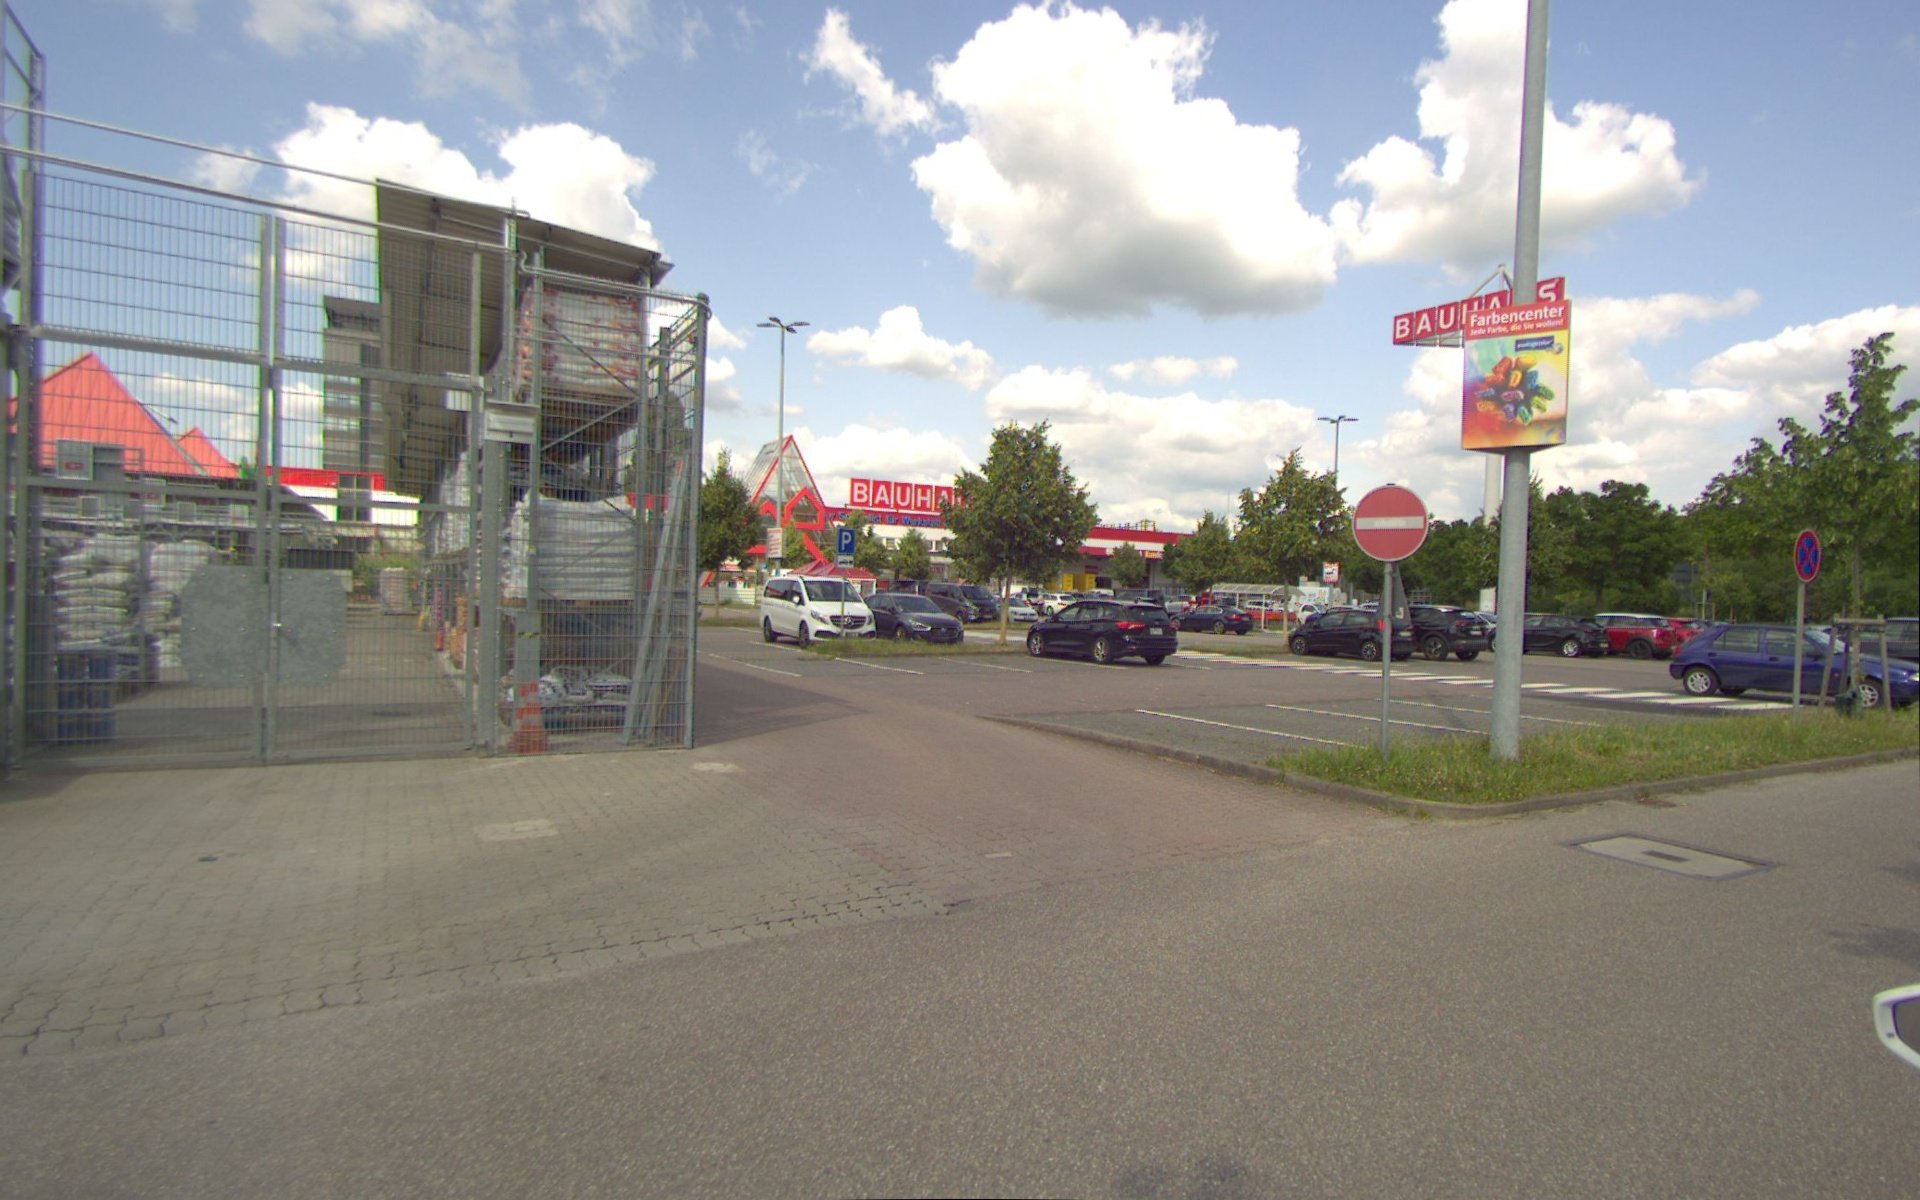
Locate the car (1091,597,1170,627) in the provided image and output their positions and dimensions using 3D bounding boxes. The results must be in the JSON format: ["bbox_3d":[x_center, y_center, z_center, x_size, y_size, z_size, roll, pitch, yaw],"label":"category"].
[{"bbox_3d":[9.405,0.656,55.746,1.977,1.487,4.379,1,0,-31],"label":"car"}]

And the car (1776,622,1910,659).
[{"bbox_3d":[41.565,1.903,47.342,4.561,1.524,1.785,2,1,4],"label":"car"}]

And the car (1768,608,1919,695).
[{"bbox_3d":[19.443,1.068,20.724,1.714,1.646,3.934,1,1,-28],"label":"car"}]

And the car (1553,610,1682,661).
[{"bbox_3d":[23.223,1.230,35.565,1.691,1.602,3.417,1,1,-32],"label":"car"}]

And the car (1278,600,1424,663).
[{"bbox_3d":[11.610,0.898,30.013,1.766,1.646,3.670,1,1,-35],"label":"car"}]

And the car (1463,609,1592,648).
[{"bbox_3d":[23.264,1.150,41.317,1.874,1.371,4.243,1,0,-32],"label":"car"}]

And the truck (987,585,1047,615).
[{"bbox_3d":[4.223,-0.001,74.882,1.838,2.040,5.368,5,-2,-28],"label":"truck"}]

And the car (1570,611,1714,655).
[{"bbox_3d":[25.209,1.180,37.274,1.747,1.417,4.052,1,1,-32],"label":"car"}]

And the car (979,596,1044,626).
[{"bbox_3d":[2.574,0.554,50.831,1.721,1.405,3.536,1,0,-27],"label":"car"}]

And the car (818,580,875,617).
[{"bbox_3d":[-6.697,-0.128,58.798,1.975,2.040,3.971,1,0,-27],"label":"car"}]

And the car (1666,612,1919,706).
[{"bbox_3d":[15.263,0.988,18.170,1.602,1.386,3.733,1,1,-30],"label":"car"}]

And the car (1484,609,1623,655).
[{"bbox_3d":[20.705,1.084,35.193,1.710,1.387,3.850,1,0,-31],"label":"car"}]

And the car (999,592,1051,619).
[{"bbox_3d":[4.107,0.338,63.761,1.710,1.528,3.209,5,-2,-32],"label":"car"}]

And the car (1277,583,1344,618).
[{"bbox_3d":[27.618,0.007,79.262,2.029,2.543,4.691,3,1,-29],"label":"car"}]

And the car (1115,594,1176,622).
[{"bbox_3d":[12.911,0.570,70.113,1.978,1.802,3.964,1,0,-33],"label":"car"}]

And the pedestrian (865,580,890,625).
[{"bbox_3d":[-3.871,0.115,46.975,0.808,2.040,0.907,1,1,-32],"label":"pedestrian"}]

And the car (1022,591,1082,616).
[{"bbox_3d":[6.049,0.211,66.209,1.977,1.529,3.967,1,1,-30],"label":"car"}]

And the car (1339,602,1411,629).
[{"bbox_3d":[27.029,1.021,65.478,1.889,1.617,3.965,1,1,-31],"label":"car"}]

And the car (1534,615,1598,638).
[{"bbox_3d":[43.553,1.878,72.242,3.571,1.487,1.635,2,-1,4],"label":"car"}]

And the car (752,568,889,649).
[{"bbox_3d":[-3.981,0.183,27.807,1.976,2.040,5.146,1,0,-30],"label":"car"}]

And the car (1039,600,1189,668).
[{"bbox_3d":[3.623,0.769,24.057,1.792,1.423,3.325,1,1,-33],"label":"car"}]

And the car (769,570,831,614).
[{"bbox_3d":[-10.338,-0.544,64.708,2.217,2.671,4.287,2,0,-35],"label":"car"}]

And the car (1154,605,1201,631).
[{"bbox_3d":[15.680,1.251,72.476,1.584,1.767,3.140,0,1,-31],"label":"car"}]

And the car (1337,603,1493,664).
[{"bbox_3d":[13.834,0.969,30.737,1.764,1.646,4.049,1,1,-31],"label":"car"}]
